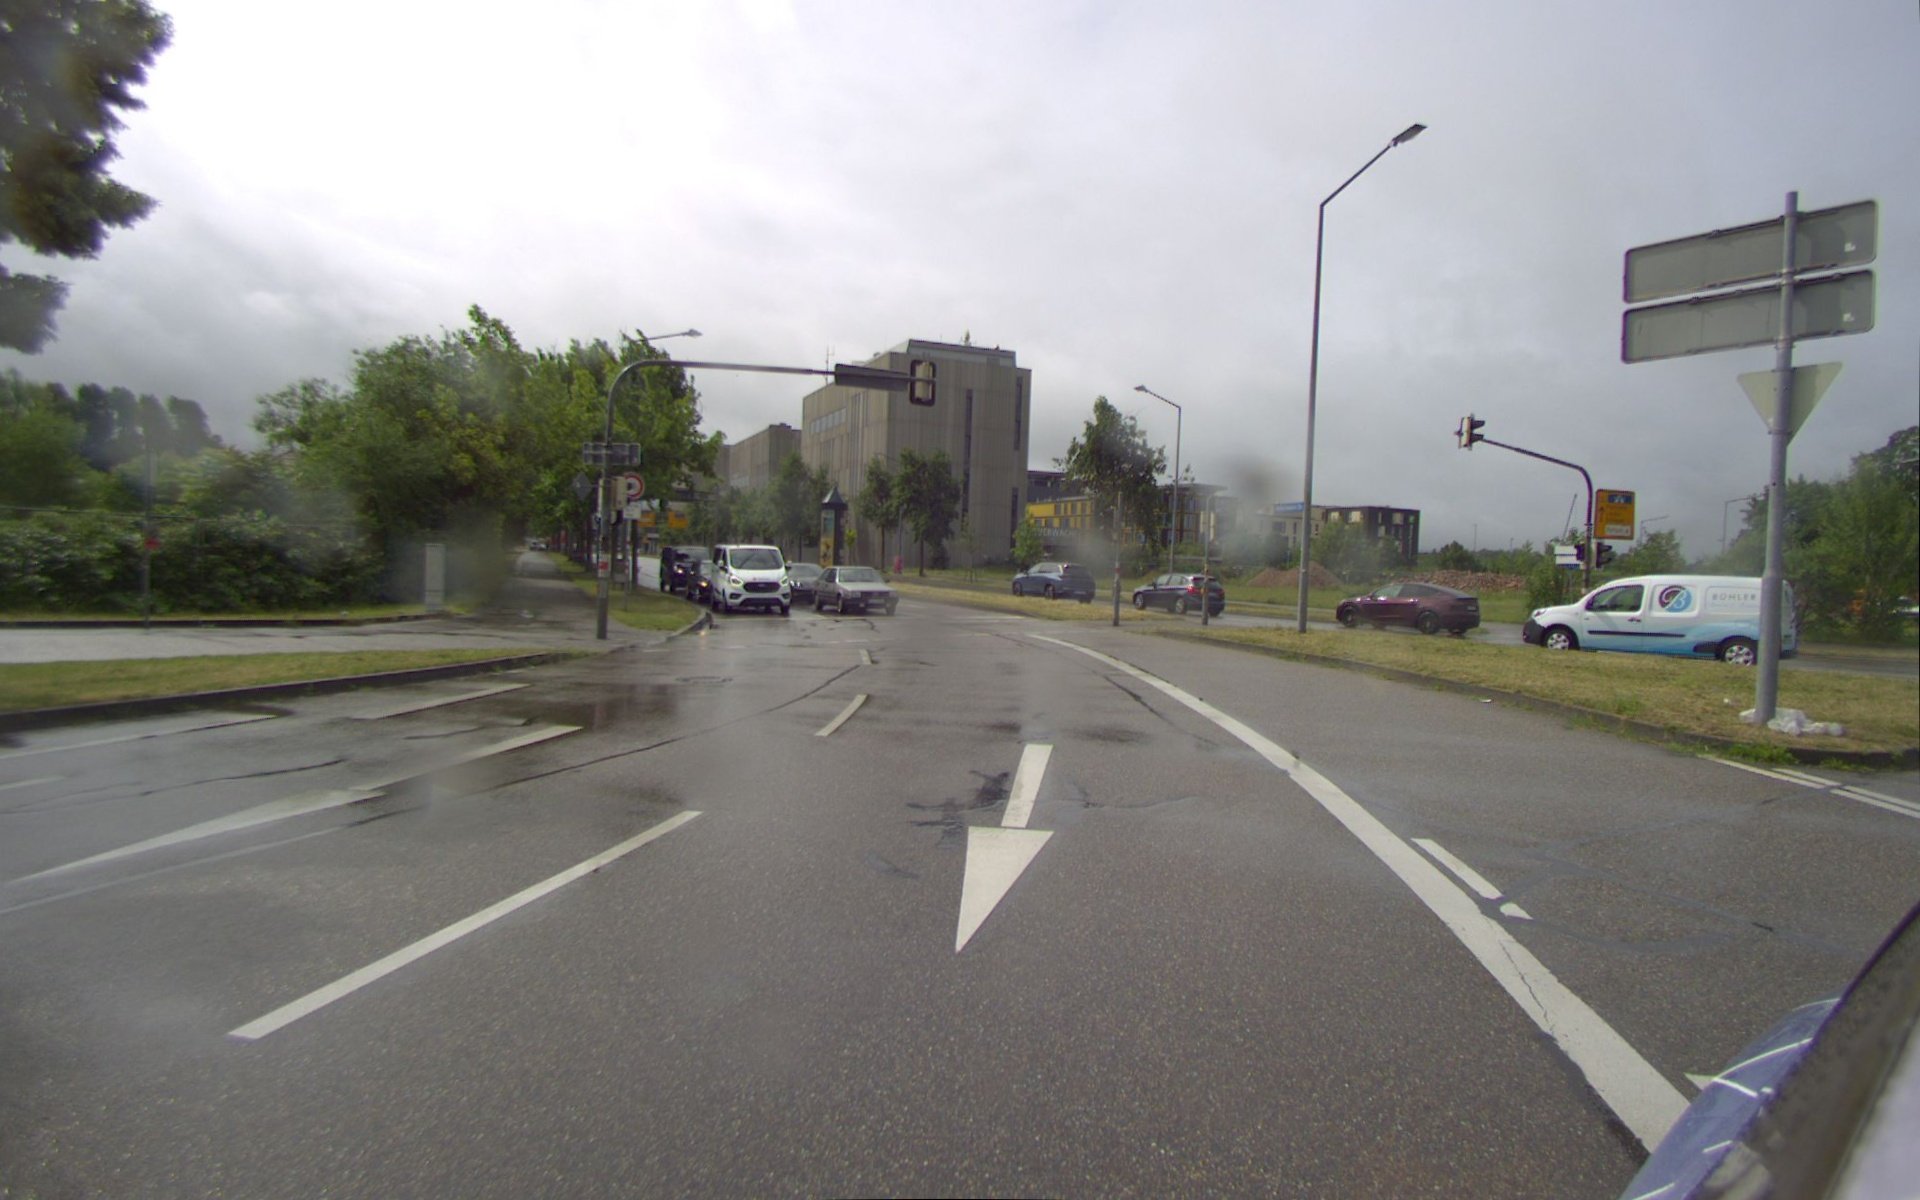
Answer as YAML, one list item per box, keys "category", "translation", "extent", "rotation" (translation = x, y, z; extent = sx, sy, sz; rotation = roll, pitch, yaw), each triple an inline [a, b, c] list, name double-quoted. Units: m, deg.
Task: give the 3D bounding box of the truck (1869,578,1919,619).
- category: "truck"
  translation: [67.944, -0.107, 71.947]
  extent: [2.433, 2.759, 6.899]
  rotation: [3, 2, 21]

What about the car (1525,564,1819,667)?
- category: "car"
  translation: [14.317, 0.227, 20.579]
  extent: [1.835, 1.784, 4.546]
  rotation: [1, 2, -41]

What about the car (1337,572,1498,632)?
- category: "car"
  translation: [14.985, 0.023, 33.372]
  extent: [1.838, 1.677, 4.503]
  rotation: [2, 2, -33]

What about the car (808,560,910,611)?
- category: "car"
  translation: [-3.175, -0.486, 30.947]
  extent: [1.828, 1.397, 4.562]
  rotation: [1, 2, -23]

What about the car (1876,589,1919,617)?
- category: "car"
  translation: [61.199, 0.242, 64.816]
  extent: [1.850, 1.683, 4.461]
  rotation: [4, 2, 16]

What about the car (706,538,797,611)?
- category: "car"
  translation: [-6.448, -0.806, 30.938]
  extent: [2.035, 2.012, 4.812]
  rotation: [2, 2, -19]

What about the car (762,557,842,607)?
- category: "car"
  translation: [-5.872, -0.710, 37.135]
  extent: [1.828, 1.554, 4.500]
  rotation: [2, 3, -23]

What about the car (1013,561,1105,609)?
- category: "car"
  translation: [4.017, -0.658, 41.882]
  extent: [1.999, 1.779, 4.333]
  rotation: [2, 2, -21]

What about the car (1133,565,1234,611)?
- category: "car"
  translation: [8.519, -0.489, 38.947]
  extent: [1.772, 1.547, 4.010]
  rotation: [2, 2, -22]

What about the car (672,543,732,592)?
- category: "car"
  translation: [-11.553, -1.459, 45.070]
  extent: [2.035, 2.012, 4.812]
  rotation: [2, 2, -20]
